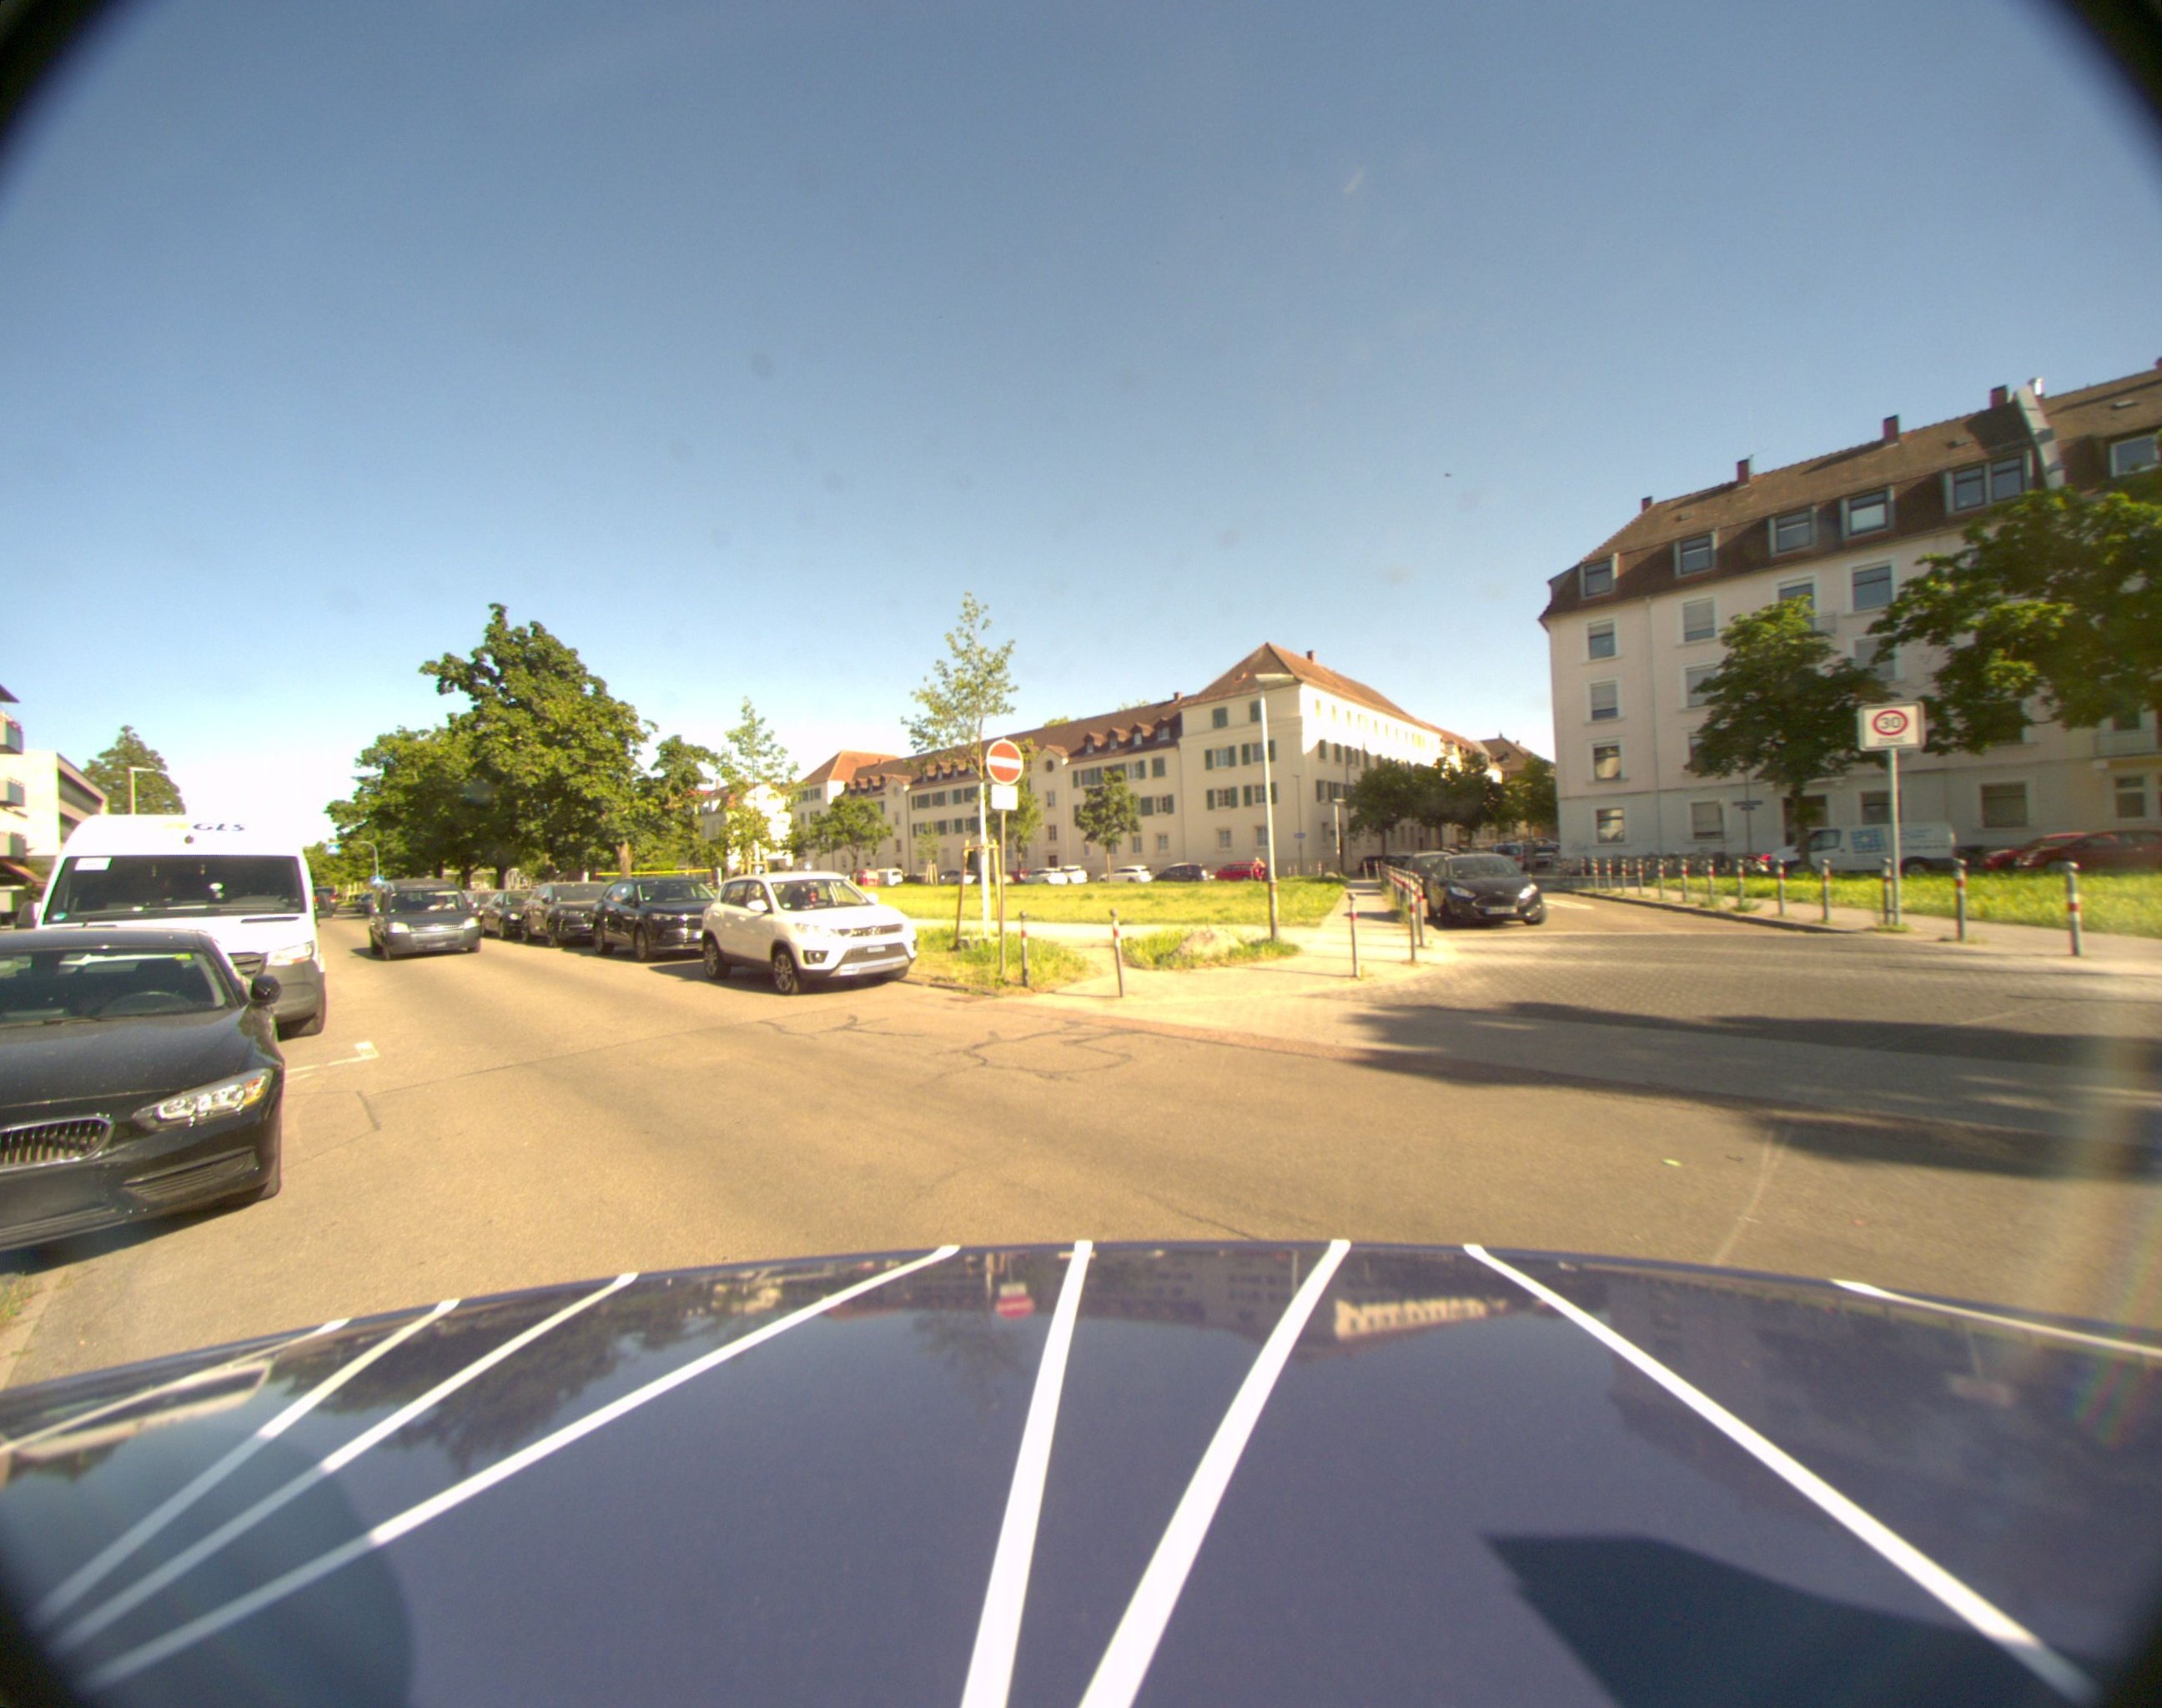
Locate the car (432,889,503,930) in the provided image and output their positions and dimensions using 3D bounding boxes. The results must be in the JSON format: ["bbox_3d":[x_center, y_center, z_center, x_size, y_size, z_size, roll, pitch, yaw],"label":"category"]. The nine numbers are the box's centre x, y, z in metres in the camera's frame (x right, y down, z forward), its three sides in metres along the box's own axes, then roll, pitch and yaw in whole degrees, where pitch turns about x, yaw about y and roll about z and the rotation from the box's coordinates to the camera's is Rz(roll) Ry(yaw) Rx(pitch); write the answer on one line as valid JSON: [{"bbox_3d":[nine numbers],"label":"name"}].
[{"bbox_3d":[-24.130,2.141,29.850,3.675,1.483,1.595,-2,-2,42],"label":"car"}]

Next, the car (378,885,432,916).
[{"bbox_3d":[-39.467,2.676,44.338,4.744,1.615,2.037,-3,-2,44],"label":"car"}]

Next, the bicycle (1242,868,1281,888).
[{"bbox_3d":[11.705,1.550,49.345,2.251,1.255,0.846,-2,0,43],"label":"bicycle"}]

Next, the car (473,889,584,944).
[{"bbox_3d":[-17.063,1.846,23.374,4.458,1.510,1.884,-2,-2,42],"label":"car"}]

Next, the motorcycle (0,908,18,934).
[{"bbox_3d":[-50.418,3.111,35.615,2.032,1.144,0.586,-2,0,34],"label":"motorcycle"}]

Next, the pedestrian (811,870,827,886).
[{"bbox_3d":[-32.357,2.935,93.748,1.160,1.952,1.346,-2,0,38],"label":"pedestrian"}]

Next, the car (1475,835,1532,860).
[{"bbox_3d":[44.353,-0.667,79.833,4.942,2.504,1.960,-2,0,39],"label":"car"}]

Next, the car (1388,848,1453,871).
[{"bbox_3d":[26.376,0.435,59.089,4.231,1.691,1.710,-2,0,41],"label":"car"}]

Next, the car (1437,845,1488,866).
[{"bbox_3d":[32.958,0.127,65.697,3.606,1.631,1.836,-2,0,39],"label":"car"}]

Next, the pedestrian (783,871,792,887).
[{"bbox_3d":[-29.794,2.540,77.070,0.546,1.675,0.748,-2,0,-45],"label":"pedestrian"}]

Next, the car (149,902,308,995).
[{"bbox_3d":[-17.031,1.770,15.247,4.190,1.457,1.858,-3,0,42],"label":"car"}]

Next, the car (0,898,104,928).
[{"bbox_3d":[-67.566,3.846,49.675,1.909,1.614,4.430,-2,0,41],"label":"car"}]

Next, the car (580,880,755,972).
[{"bbox_3d":[-8.810,1.400,15.975,4.702,1.628,1.853,-2,-2,43],"label":"car"}]

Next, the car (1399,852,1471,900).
[{"bbox_3d":[12.874,0.762,27.874,1.925,1.567,4.354,-2,-1,19],"label":"car"}]

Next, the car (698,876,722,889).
[{"bbox_3d":[-55.925,4.311,114.462,3.989,1.783,1.960,-3,0,44],"label":"car"}]

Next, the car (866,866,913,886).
[{"bbox_3d":[-20.731,2.352,82.123,5.243,1.973,2.232,-3,0,41],"label":"car"}]

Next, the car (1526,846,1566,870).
[{"bbox_3d":[33.905,0.296,55.407,1.933,1.559,3.890,-2,0,39],"label":"car"}]

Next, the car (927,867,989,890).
[{"bbox_3d":[-10.625,2.134,65.386,5.439,1.809,2.463,-3,0,45],"label":"car"}]

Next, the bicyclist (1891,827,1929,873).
[{"bbox_3d":[31.710,-0.149,29.064,0.877,1.680,0.633,-2,0,42],"label":"bicyclist"}]

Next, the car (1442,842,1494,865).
[{"bbox_3d":[34.409,-0.025,67.611,3.702,1.823,1.960,-2,0,39],"label":"car"}]

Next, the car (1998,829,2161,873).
[{"bbox_3d":[32.781,-0.095,24.704,3.516,1.272,1.703,-2,0,41],"label":"car"}]

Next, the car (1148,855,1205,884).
[{"bbox_3d":[7.096,1.170,56.457,3.886,2.002,1.674,-2,0,43],"label":"car"}]

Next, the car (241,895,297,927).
[{"bbox_3d":[-42.172,2.912,39.445,5.051,1.464,1.853,-3,0,42],"label":"car"}]

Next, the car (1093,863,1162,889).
[{"bbox_3d":[3.627,1.752,59.753,5.145,1.874,2.165,-3,0,43],"label":"car"}]

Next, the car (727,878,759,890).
[{"bbox_3d":[-43.794,3.918,98.453,4.945,1.476,2.004,-2,-1,42],"label":"car"}]

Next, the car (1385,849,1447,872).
[{"bbox_3d":[23.968,0.489,54.363,3.657,1.512,1.716,-2,0,42],"label":"car"}]

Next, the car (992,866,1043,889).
[{"bbox_3d":[-5.734,2.145,68.461,4.156,1.893,2.275,-3,0,42],"label":"car"}]

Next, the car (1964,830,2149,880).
[{"bbox_3d":[36.908,0.071,28.944,4.043,1.741,2.004,-3,0,44],"label":"car"}]

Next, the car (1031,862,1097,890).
[{"bbox_3d":[-1.502,1.867,64.745,5.243,2.203,2.544,-3,0,41],"label":"car"}]

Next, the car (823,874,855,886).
[{"bbox_3d":[-28.479,3.075,89.200,3.989,1.348,1.778,-3,-1,42],"label":"car"}]

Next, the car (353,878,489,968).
[{"bbox_3d":[-15.610,1.543,17.903,4.146,1.779,1.908,-3,-1,43],"label":"car"}]

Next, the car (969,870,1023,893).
[{"bbox_3d":[-6.925,2.231,61.949,3.998,1.740,2.329,-3,0,45],"label":"car"}]

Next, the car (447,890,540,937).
[{"bbox_3d":[-20.841,2.035,26.879,4.655,1.483,1.765,-3,-2,42],"label":"car"}]

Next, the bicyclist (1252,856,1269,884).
[{"bbox_3d":[11.667,1.019,49.356,0.799,1.792,0.676,-2,0,43],"label":"bicyclist"}]

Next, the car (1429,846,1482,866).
[{"bbox_3d":[31.316,0.141,63.519,3.606,1.511,1.864,-2,0,39],"label":"car"}]

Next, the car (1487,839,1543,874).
[{"bbox_3d":[26.999,0.143,47.202,2.135,2.002,4.586,-2,0,40],"label":"car"}]

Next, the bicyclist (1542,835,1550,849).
[{"bbox_3d":[45.218,-1.191,73.921,0.532,1.356,0.787,-2,0,40],"label":"bicyclist"}]

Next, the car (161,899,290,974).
[{"bbox_3d":[-20.515,1.885,18.364,4.129,1.466,1.888,-3,-1,43],"label":"car"}]

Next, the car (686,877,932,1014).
[{"bbox_3d":[-4.214,1.205,11.377,4.275,1.637,1.766,-3,-2,44],"label":"car"}]

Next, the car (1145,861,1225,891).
[{"bbox_3d":[6.712,1.450,49.230,4.692,1.809,2.169,-3,0,41],"label":"car"}]

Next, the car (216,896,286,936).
[{"bbox_3d":[-34.573,2.535,31.626,3.850,1.490,1.757,-2,-1,40],"label":"car"}]

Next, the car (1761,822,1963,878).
[{"bbox_3d":[29.094,-0.094,28.614,5.084,1.861,2.092,-2,0,41],"label":"car"}]

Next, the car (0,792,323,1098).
[{"bbox_3d":[-11.308,0.917,9.763,6.823,2.696,2.154,-3,-2,44],"label":"car"}]

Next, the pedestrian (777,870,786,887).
[{"bbox_3d":[-30.138,2.436,76.436,0.546,1.675,0.672,-2,0,-42],"label":"pedestrian"}]

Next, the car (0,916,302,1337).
[{"bbox_3d":[-5.941,1.190,4.313,4.486,1.472,1.969,-2,-2,42],"label":"car"}]

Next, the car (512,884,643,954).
[{"bbox_3d":[-13.343,1.615,20.013,4.726,1.600,1.829,-3,-2,43],"label":"car"}]

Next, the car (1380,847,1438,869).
[{"bbox_3d":[24.797,0.329,57.483,3.606,1.511,1.712,-2,0,39],"label":"car"}]

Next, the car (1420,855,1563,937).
[{"bbox_3d":[8.500,0.795,16.152,1.917,1.401,4.354,-4,-1,19],"label":"car"}]

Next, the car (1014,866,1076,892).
[{"bbox_3d":[-2.773,1.931,58.099,4.246,1.809,2.247,-3,0,41],"label":"car"}]

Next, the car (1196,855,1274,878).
[{"bbox_3d":[10.696,0.883,53.048,4.945,1.476,2.004,-2,-1,42],"label":"car"}]

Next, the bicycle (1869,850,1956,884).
[{"bbox_3d":[31.748,0.501,29.051,2.148,1.251,0.716,-2,0,42],"label":"bicycle"}]

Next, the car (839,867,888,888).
[{"bbox_3d":[-21.686,2.371,75.685,5.243,1.973,2.232,-3,0,43],"label":"car"}]

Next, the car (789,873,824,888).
[{"bbox_3d":[-30.075,2.928,83.161,4.224,1.574,1.798,-3,0,42],"label":"car"}]
